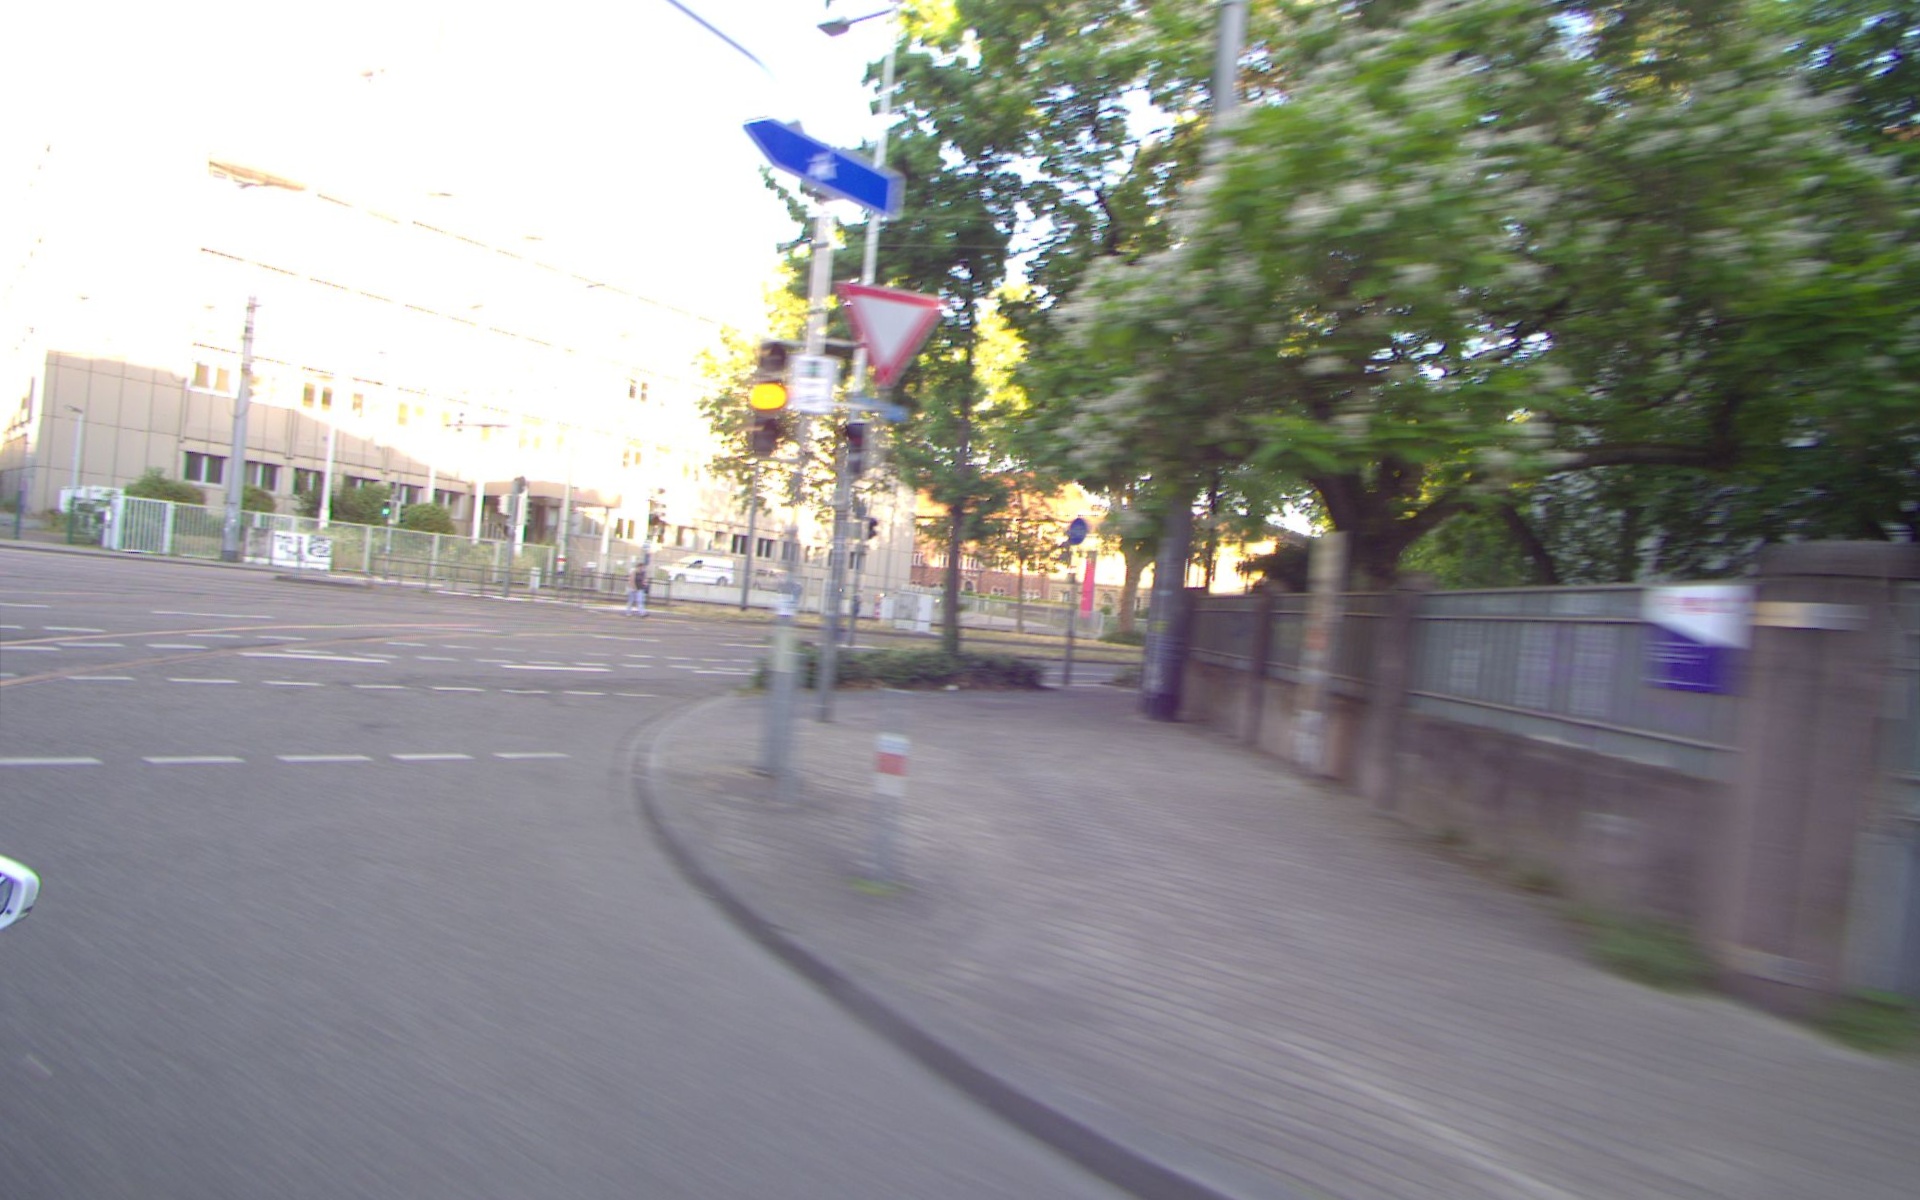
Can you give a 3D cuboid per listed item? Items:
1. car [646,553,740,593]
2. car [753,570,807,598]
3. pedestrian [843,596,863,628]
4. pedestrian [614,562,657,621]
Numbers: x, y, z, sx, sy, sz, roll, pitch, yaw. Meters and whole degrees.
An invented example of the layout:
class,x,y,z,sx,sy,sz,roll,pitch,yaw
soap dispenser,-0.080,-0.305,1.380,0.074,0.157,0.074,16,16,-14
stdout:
class,x,y,z,sx,sy,sz,roll,pitch,yaw
car,-16.438,-1.631,62.077,2.245,1.897,5.066,6,0,43
car,-13.005,-1.145,72.502,1.822,1.634,3.950,7,-1,-44
pedestrian,-6.091,0.680,57.492,0.869,1.699,1.062,6,1,0
pedestrian,-9.723,-0.253,30.164,0.817,1.636,0.753,6,0,38
